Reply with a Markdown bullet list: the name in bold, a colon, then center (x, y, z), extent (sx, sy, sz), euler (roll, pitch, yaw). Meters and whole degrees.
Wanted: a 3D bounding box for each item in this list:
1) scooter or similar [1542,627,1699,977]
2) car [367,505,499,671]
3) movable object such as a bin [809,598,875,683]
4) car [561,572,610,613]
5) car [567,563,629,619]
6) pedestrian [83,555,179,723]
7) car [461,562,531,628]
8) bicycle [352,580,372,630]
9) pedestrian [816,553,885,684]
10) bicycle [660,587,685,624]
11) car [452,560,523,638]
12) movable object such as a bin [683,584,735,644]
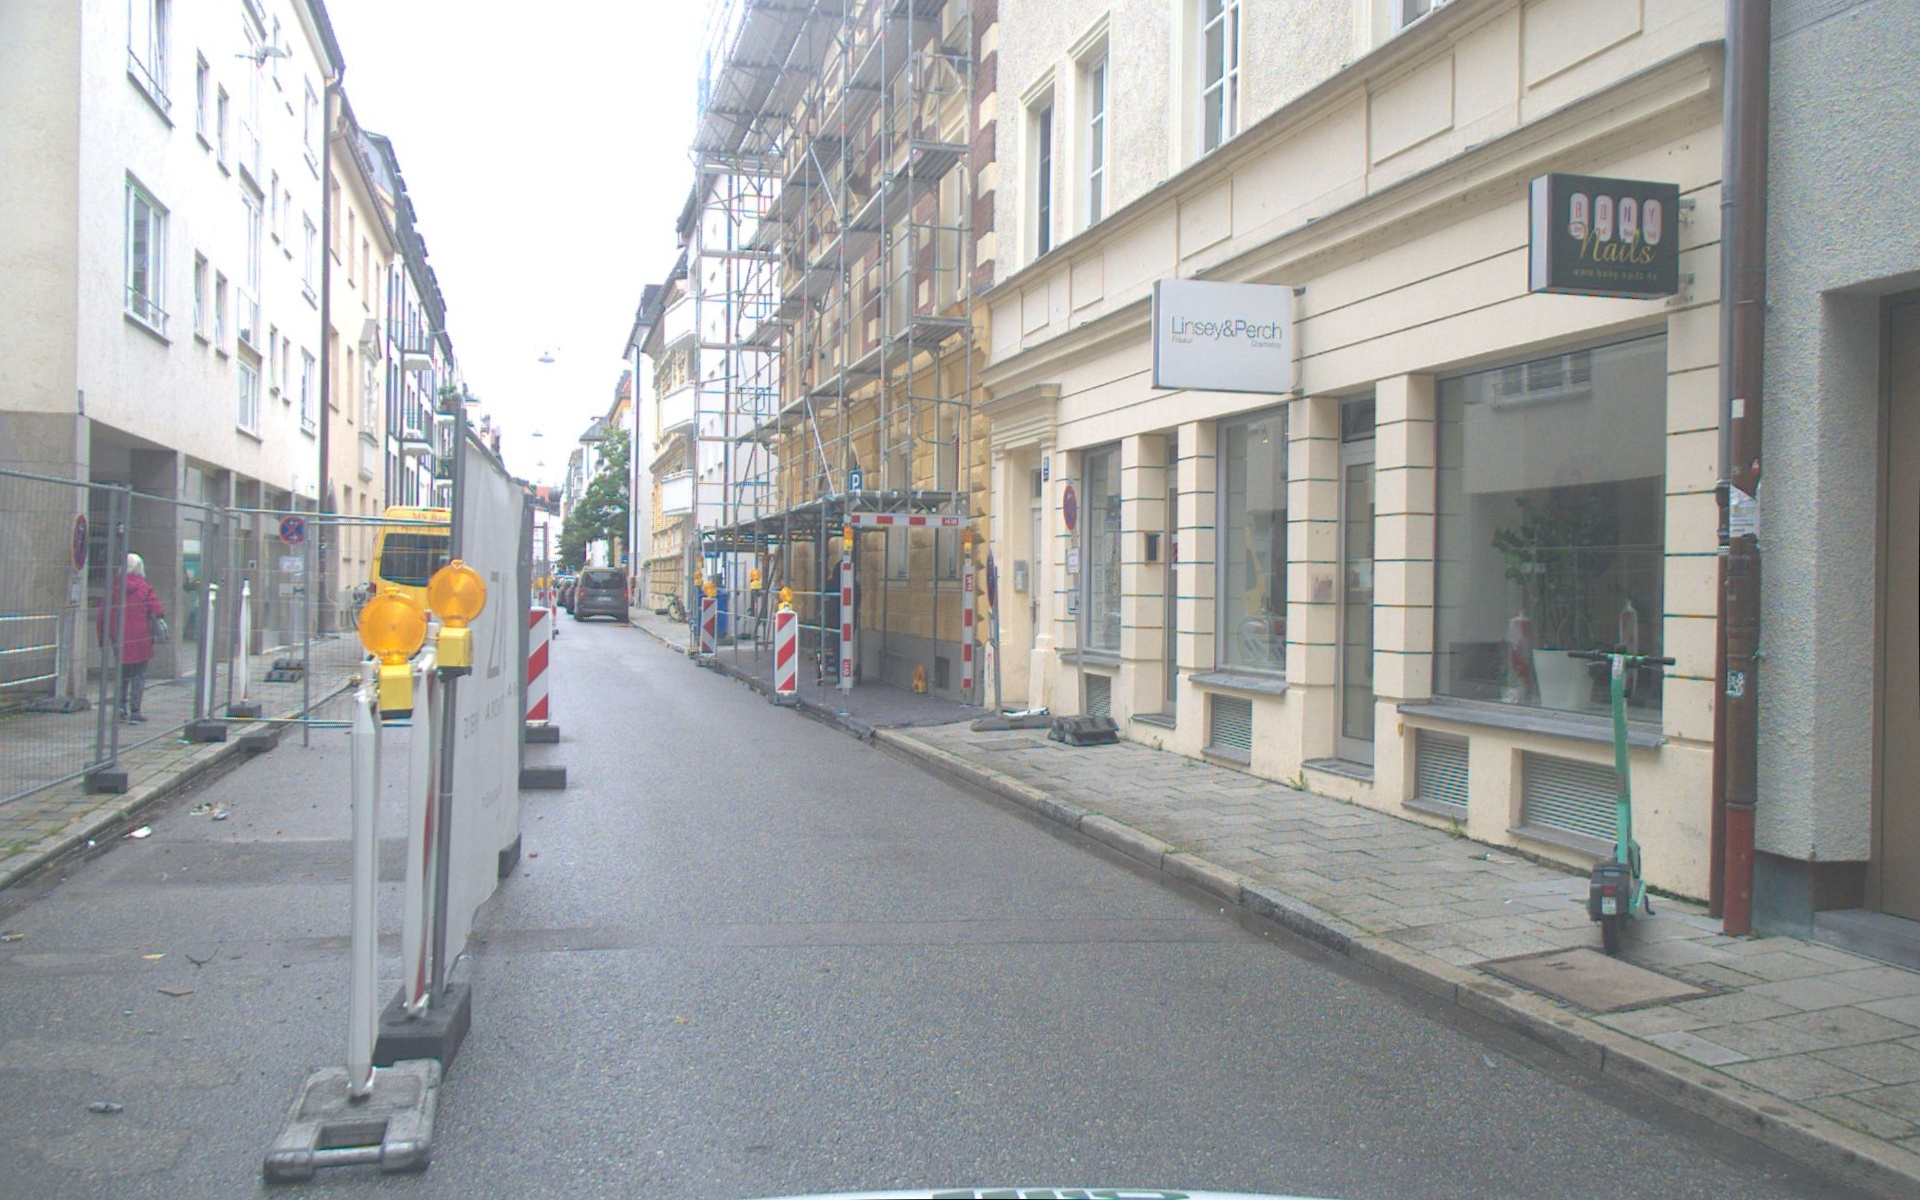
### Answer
- **scooter or similar**: center (2.791, 0.761, 6.915), extent (0.484, 1.204, 1.607), euler (-2, 1, 25)
- **car**: center (-9.322, -0.227, 29.677), extent (1.961, 2.623, 6.709), euler (0, 1, -15)
- **movable object such as a bin**: center (-1.733, 0.582, 24.156), extent (0.718, 1.160, 0.984), euler (-4, 2, -16)
- **car**: center (-16.106, -0.336, 71.020), extent (1.863, 1.670, 4.304), euler (0, 1, -15)
- **car**: center (-13.535, -0.348, 61.641), extent (1.961, 1.965, 4.641), euler (2, 0, -15)
- **pedestrian**: center (-7.870, 0.363, 15.733), extent (0.627, 1.558, 0.744), euler (1, 0, -13)
- **car**: center (-14.249, -0.162, 50.647), extent (1.875, 1.930, 5.063), euler (1, 0, -18)
- **bicycle**: center (-15.682, 0.122, 43.369), extent (0.376, 1.209, 2.122), euler (2, 1, -22)
- **pedestrian**: center (-1.568, 0.253, 23.536), extent (0.717, 1.783, 0.984), euler (-3, 1, -16)
- **bicycle**: center (-9.662, 0.171, 55.562), extent (0.627, 1.173, 1.908), euler (-2, 2, -14)
- **car**: center (-12.696, -0.056, 44.650), extent (1.698, 1.930, 5.487), euler (-1, 1, -15)
- **movable object such as a bin**: center (-6.127, 0.332, 40.508), extent (1.065, 1.369, 1.317), euler (-2, 1, -3)
